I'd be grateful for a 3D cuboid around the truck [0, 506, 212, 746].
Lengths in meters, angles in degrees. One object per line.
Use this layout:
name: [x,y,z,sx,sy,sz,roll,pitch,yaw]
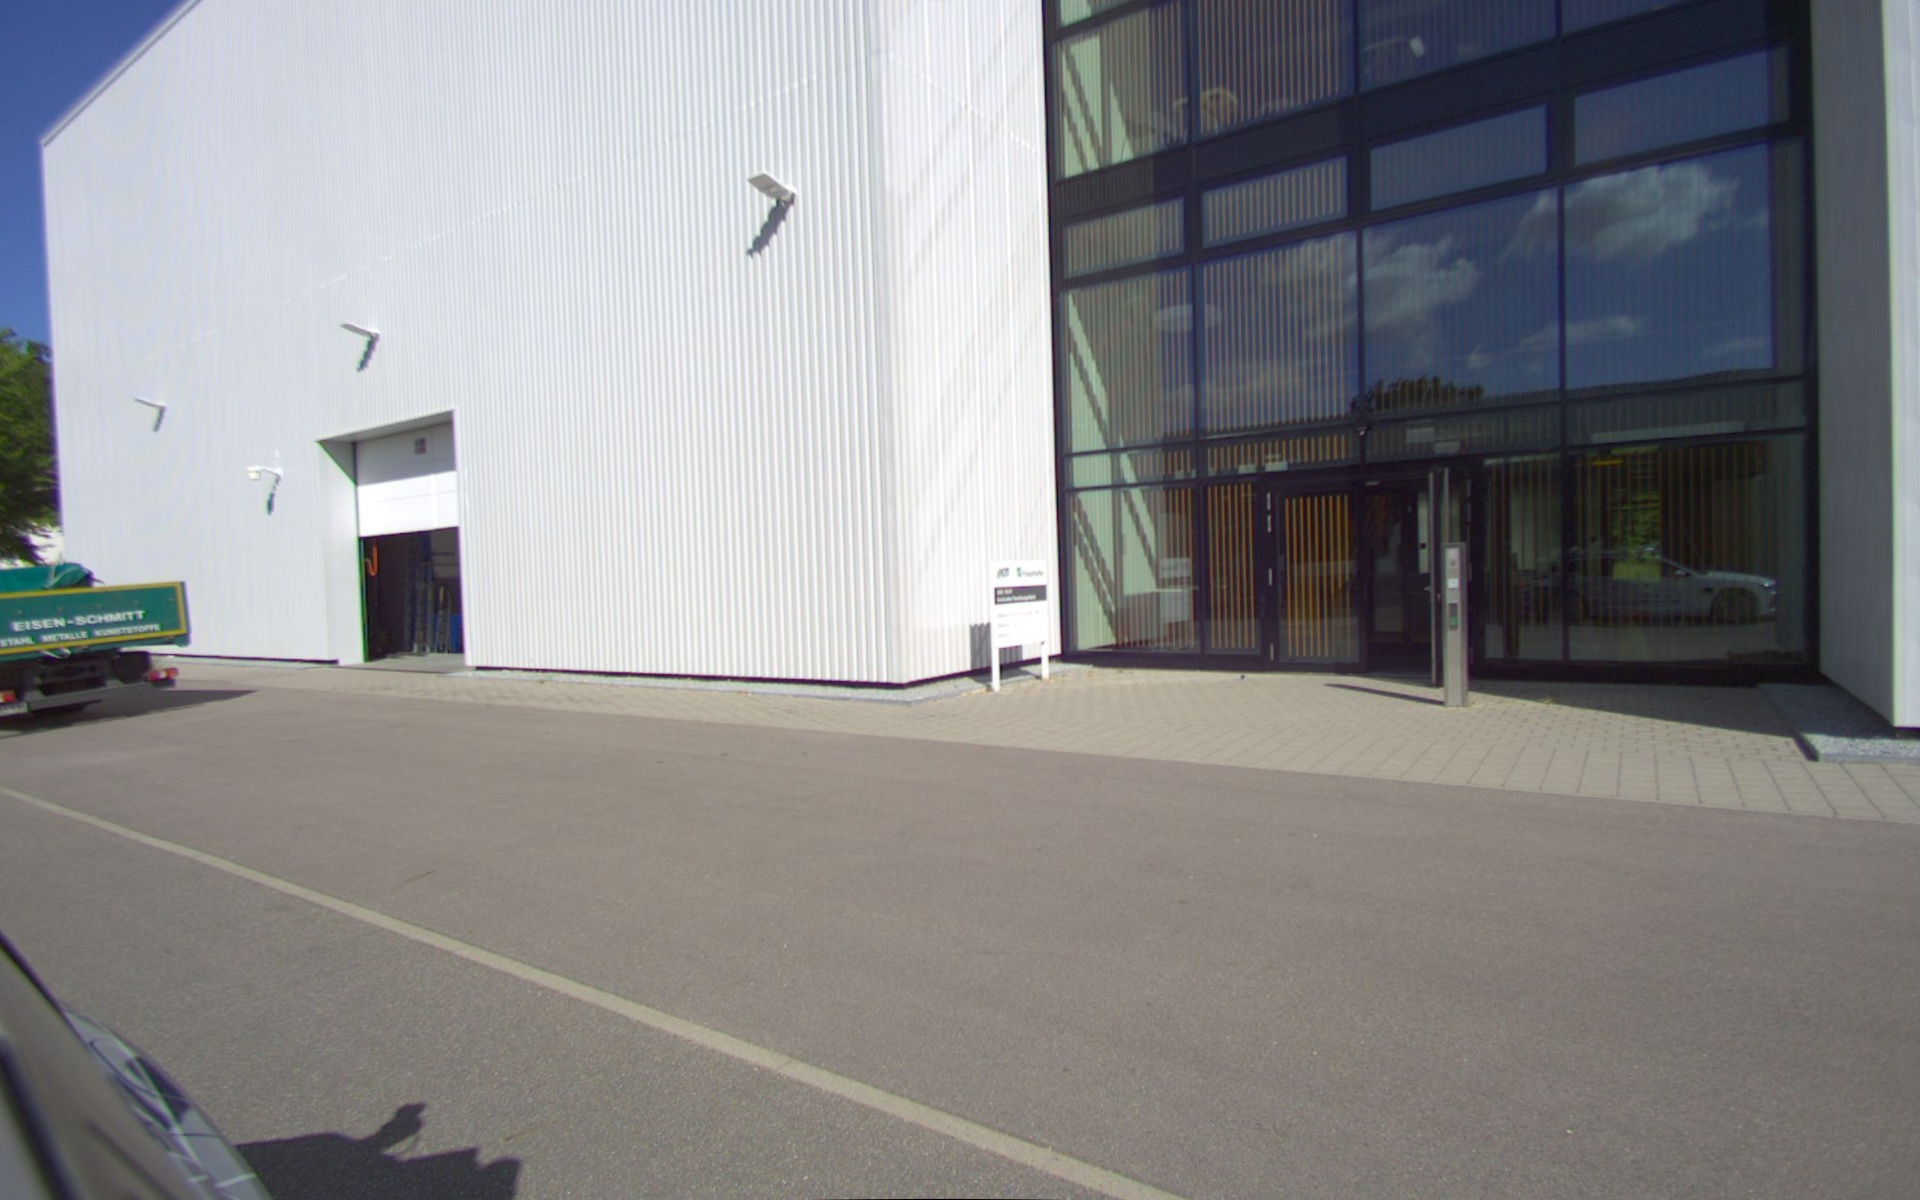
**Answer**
truck: [-15.103,0.381,14.273,9.629,2.736,2.571,-2,3,22]
